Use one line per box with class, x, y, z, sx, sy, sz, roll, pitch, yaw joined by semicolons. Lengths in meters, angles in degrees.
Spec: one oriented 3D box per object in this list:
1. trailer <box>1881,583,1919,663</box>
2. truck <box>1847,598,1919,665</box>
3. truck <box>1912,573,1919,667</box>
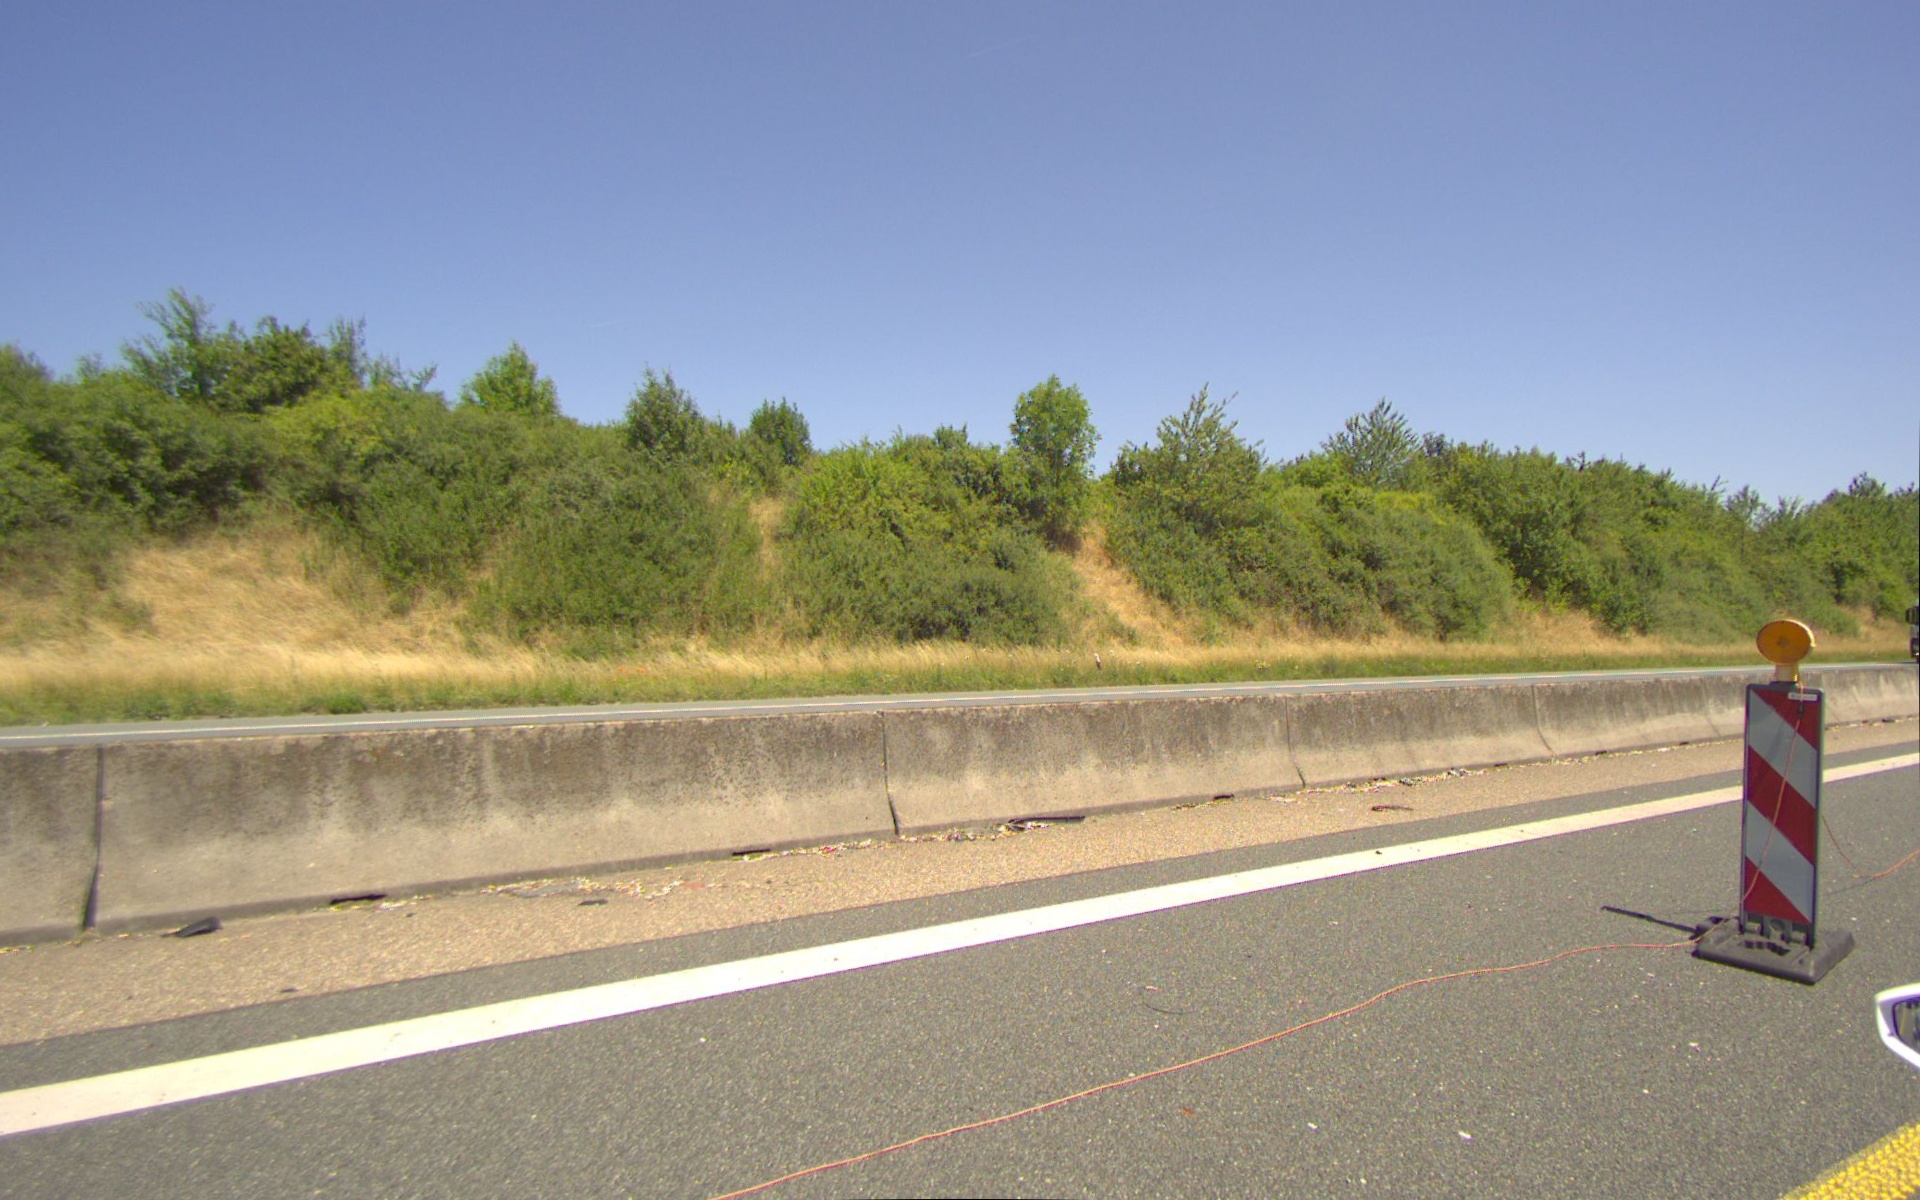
trailer;55.806;1.340;56.750;11.949;4.235;2.467;1;-2;-32
truck;49.522;1.650;52.828;6.846;3.331;2.451;1;-2;-32
truck;47.411;0.926;46.369;7.330;4.280;3.148;1;-2;-31
